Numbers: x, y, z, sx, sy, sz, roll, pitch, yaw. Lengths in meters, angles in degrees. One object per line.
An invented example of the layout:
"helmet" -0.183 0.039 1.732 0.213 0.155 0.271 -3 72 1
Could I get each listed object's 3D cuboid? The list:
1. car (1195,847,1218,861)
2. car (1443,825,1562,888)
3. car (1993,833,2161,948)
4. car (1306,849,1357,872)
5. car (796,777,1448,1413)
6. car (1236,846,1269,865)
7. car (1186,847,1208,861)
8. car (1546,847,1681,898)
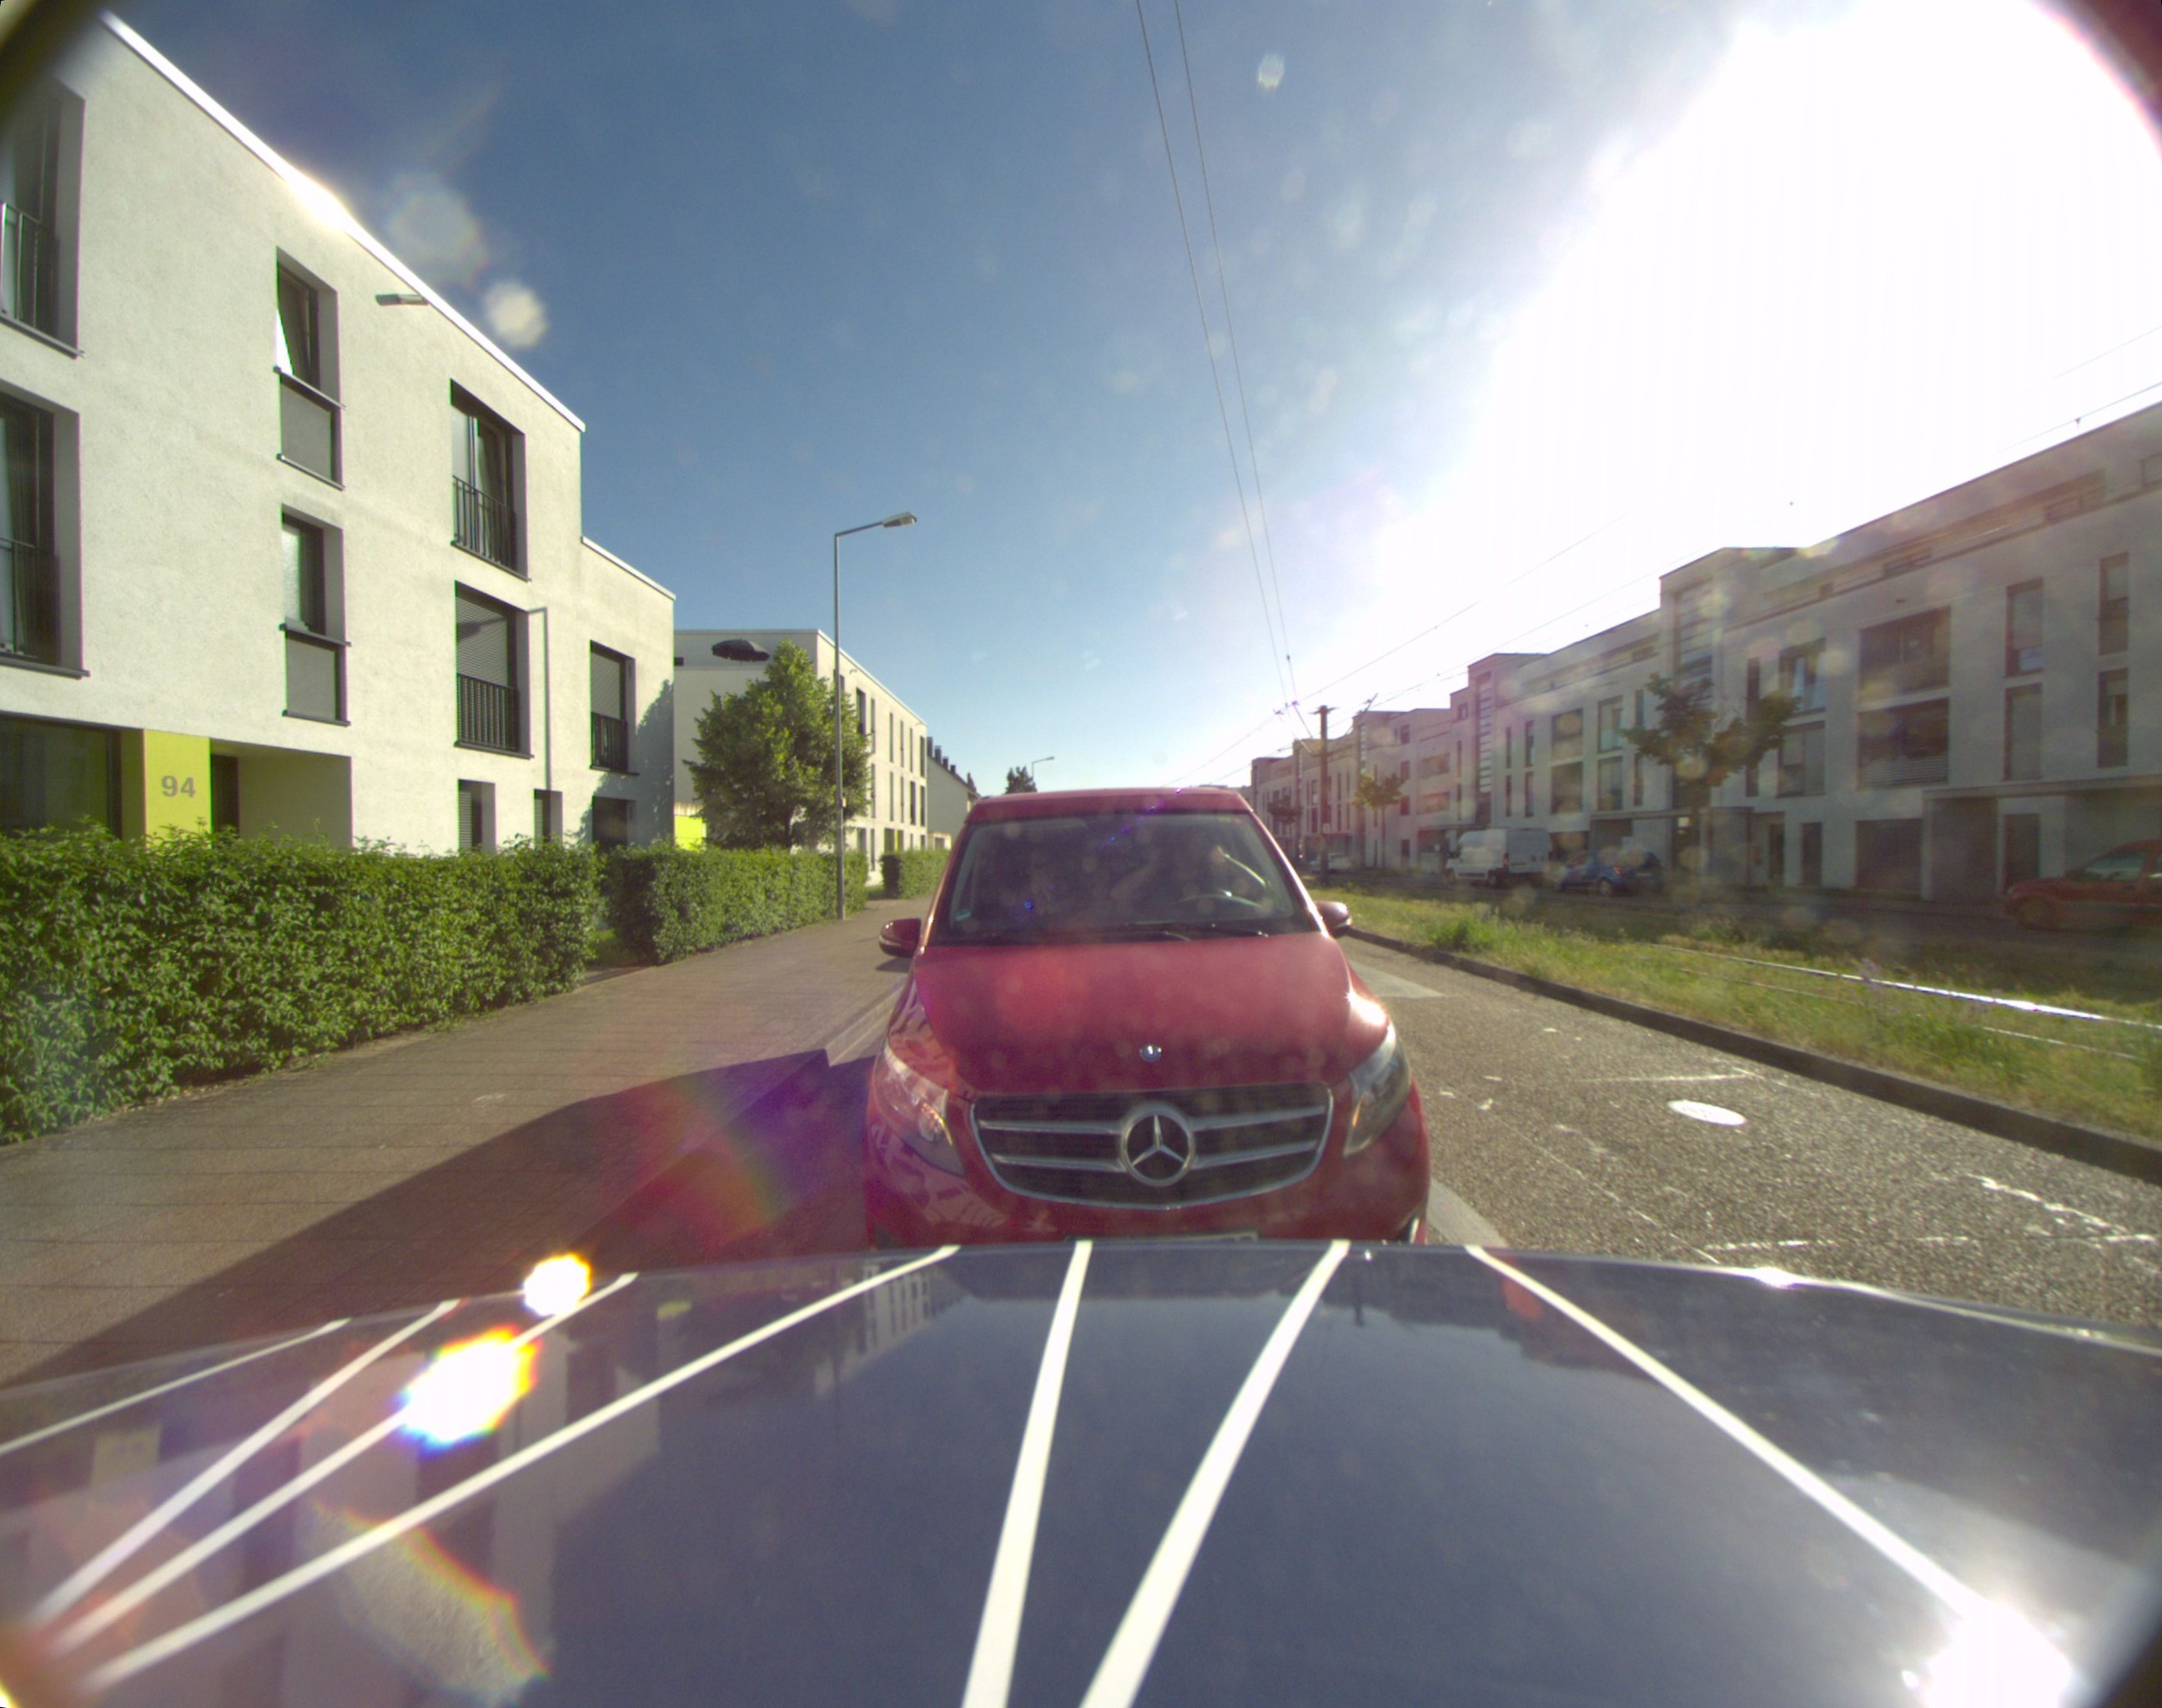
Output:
"car" 15.480 -0.030 93.867 1.923 1.671 4.282 -2 1 -4
"car" 18.174 0.079 33.132 2.225 2.458 5.195 -2 1 0
"car" 18.621 0.582 12.770 1.998 1.817 3.895 -2 1 3
"car" 17.639 0.420 53.701 1.923 1.497 4.282 -2 1 -4
"car" 0.156 0.704 4.515 1.874 1.843 4.506 -2 1 1
"car" 16.724 0.139 74.316 1.923 1.671 4.282 -2 1 -4
"car" 15.194 -0.052 99.619 1.923 1.671 4.282 -2 1 -4
"car" 18.381 0.580 26.461 1.998 1.536 3.835 -2 1 0
